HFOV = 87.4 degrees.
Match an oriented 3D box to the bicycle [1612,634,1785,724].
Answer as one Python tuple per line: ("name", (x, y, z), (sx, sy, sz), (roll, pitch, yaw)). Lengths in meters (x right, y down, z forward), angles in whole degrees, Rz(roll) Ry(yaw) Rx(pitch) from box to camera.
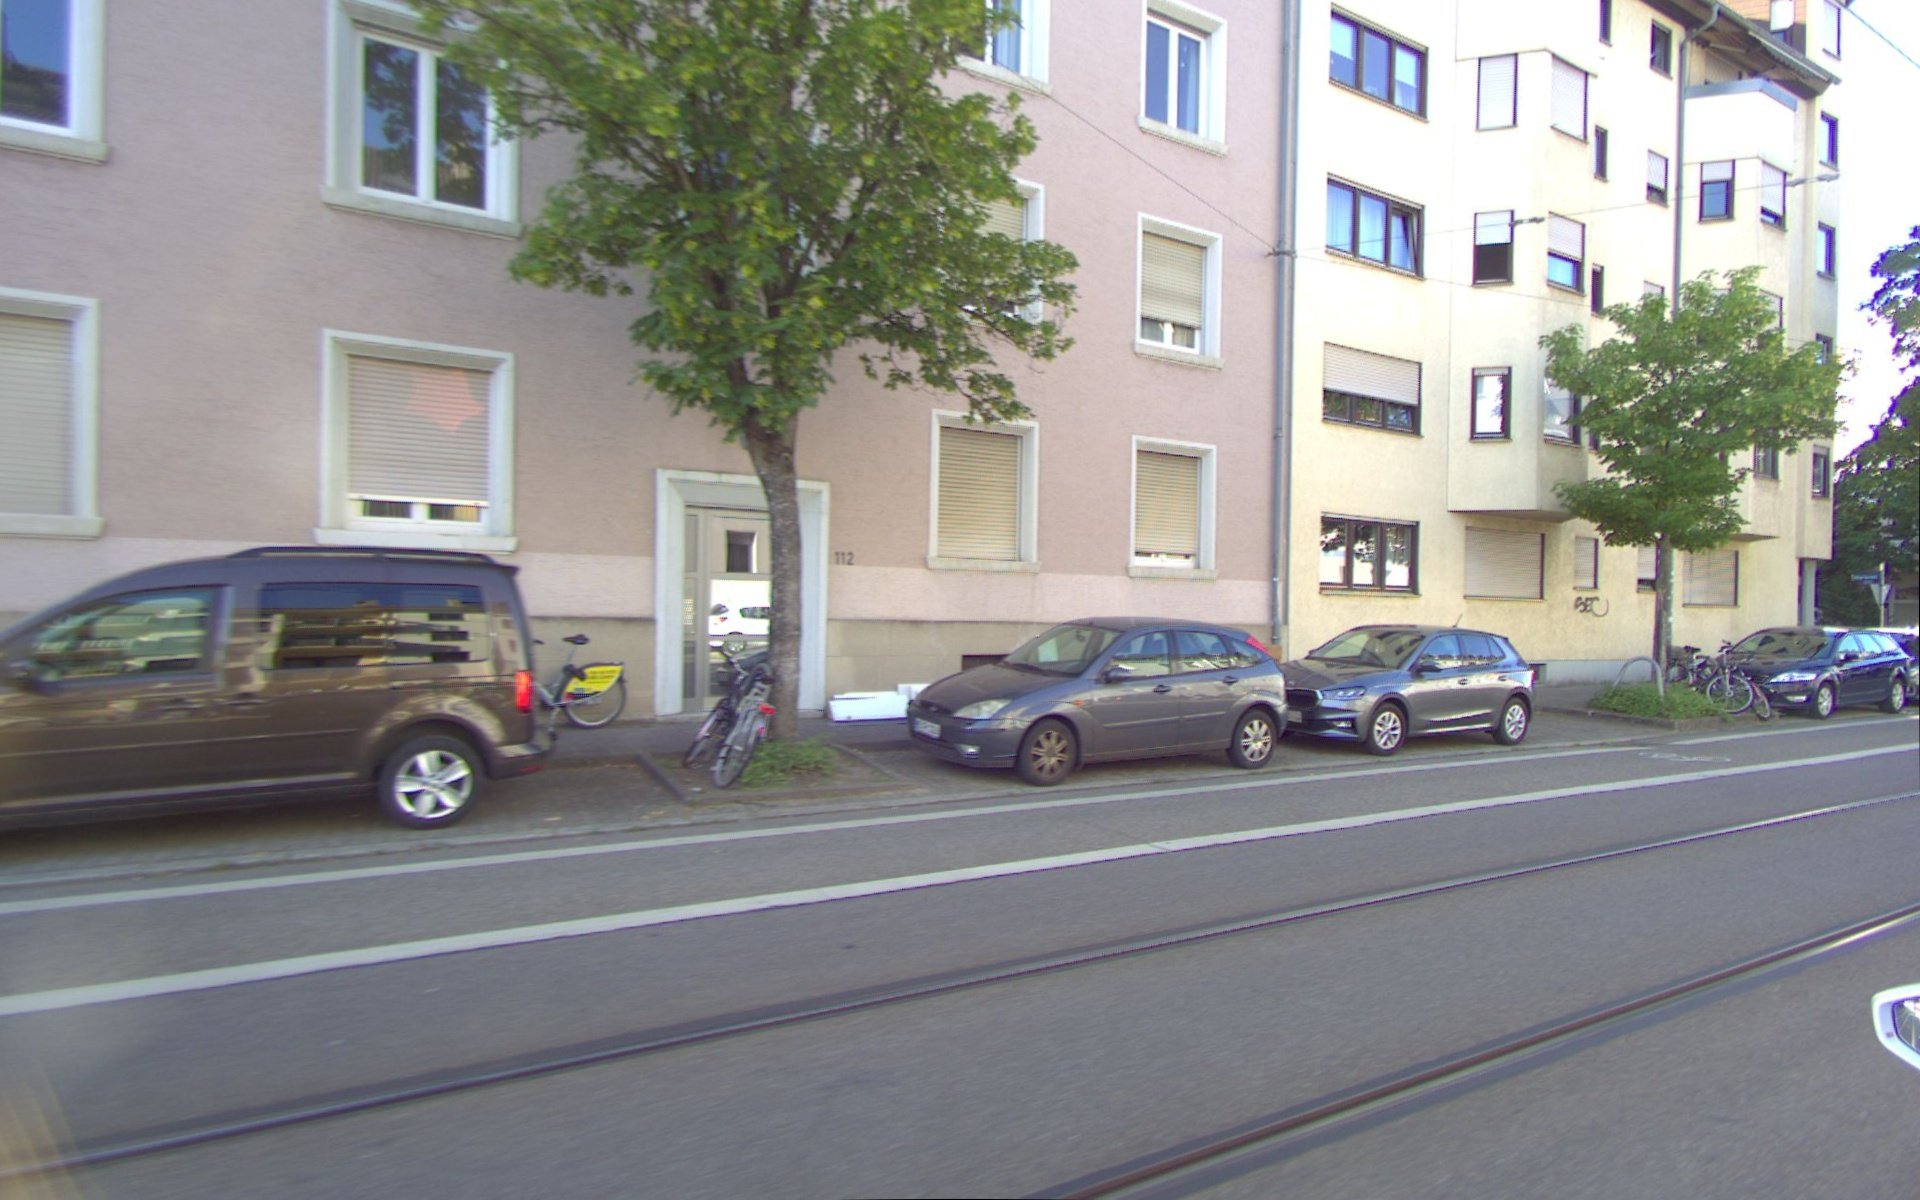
("bicycle", (12.415, 1.284, 16.982), (0.691, 1.352, 2.282), (1, 0, -29))

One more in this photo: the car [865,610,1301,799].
("car", (1.301, 0.921, 10.184), (4.131, 1.493, 1.757), (1, 2, -30))

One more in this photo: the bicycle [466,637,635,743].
("bicycle", (-4.072, 0.868, 10.044), (1.491, 0.976, 0.480), (1, 0, -35))

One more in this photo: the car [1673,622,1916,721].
("car", (15.036, 1.211, 18.047), (4.675, 1.563, 1.758), (1, 0, -29))

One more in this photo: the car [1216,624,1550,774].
("car", (5.306, 1.115, 12.503), (3.994, 1.493, 1.756), (1, 2, -31))

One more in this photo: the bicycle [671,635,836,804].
("bicycle", (-1.856, 0.949, 8.738), (0.738, 1.120, 2.100), (1, 2, -31))

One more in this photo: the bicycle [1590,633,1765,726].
("bicycle", (11.803, 1.266, 16.617), (0.691, 1.352, 2.282), (1, 0, -29))

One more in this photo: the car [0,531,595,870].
("car", (-4.941, 0.535, 6.773), (4.375, 1.870, 1.755), (1, 2, -33))

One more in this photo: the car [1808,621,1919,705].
("car", (19.610, 1.259, 20.850), (4.078, 1.563, 1.728), (1, 0, -29))
